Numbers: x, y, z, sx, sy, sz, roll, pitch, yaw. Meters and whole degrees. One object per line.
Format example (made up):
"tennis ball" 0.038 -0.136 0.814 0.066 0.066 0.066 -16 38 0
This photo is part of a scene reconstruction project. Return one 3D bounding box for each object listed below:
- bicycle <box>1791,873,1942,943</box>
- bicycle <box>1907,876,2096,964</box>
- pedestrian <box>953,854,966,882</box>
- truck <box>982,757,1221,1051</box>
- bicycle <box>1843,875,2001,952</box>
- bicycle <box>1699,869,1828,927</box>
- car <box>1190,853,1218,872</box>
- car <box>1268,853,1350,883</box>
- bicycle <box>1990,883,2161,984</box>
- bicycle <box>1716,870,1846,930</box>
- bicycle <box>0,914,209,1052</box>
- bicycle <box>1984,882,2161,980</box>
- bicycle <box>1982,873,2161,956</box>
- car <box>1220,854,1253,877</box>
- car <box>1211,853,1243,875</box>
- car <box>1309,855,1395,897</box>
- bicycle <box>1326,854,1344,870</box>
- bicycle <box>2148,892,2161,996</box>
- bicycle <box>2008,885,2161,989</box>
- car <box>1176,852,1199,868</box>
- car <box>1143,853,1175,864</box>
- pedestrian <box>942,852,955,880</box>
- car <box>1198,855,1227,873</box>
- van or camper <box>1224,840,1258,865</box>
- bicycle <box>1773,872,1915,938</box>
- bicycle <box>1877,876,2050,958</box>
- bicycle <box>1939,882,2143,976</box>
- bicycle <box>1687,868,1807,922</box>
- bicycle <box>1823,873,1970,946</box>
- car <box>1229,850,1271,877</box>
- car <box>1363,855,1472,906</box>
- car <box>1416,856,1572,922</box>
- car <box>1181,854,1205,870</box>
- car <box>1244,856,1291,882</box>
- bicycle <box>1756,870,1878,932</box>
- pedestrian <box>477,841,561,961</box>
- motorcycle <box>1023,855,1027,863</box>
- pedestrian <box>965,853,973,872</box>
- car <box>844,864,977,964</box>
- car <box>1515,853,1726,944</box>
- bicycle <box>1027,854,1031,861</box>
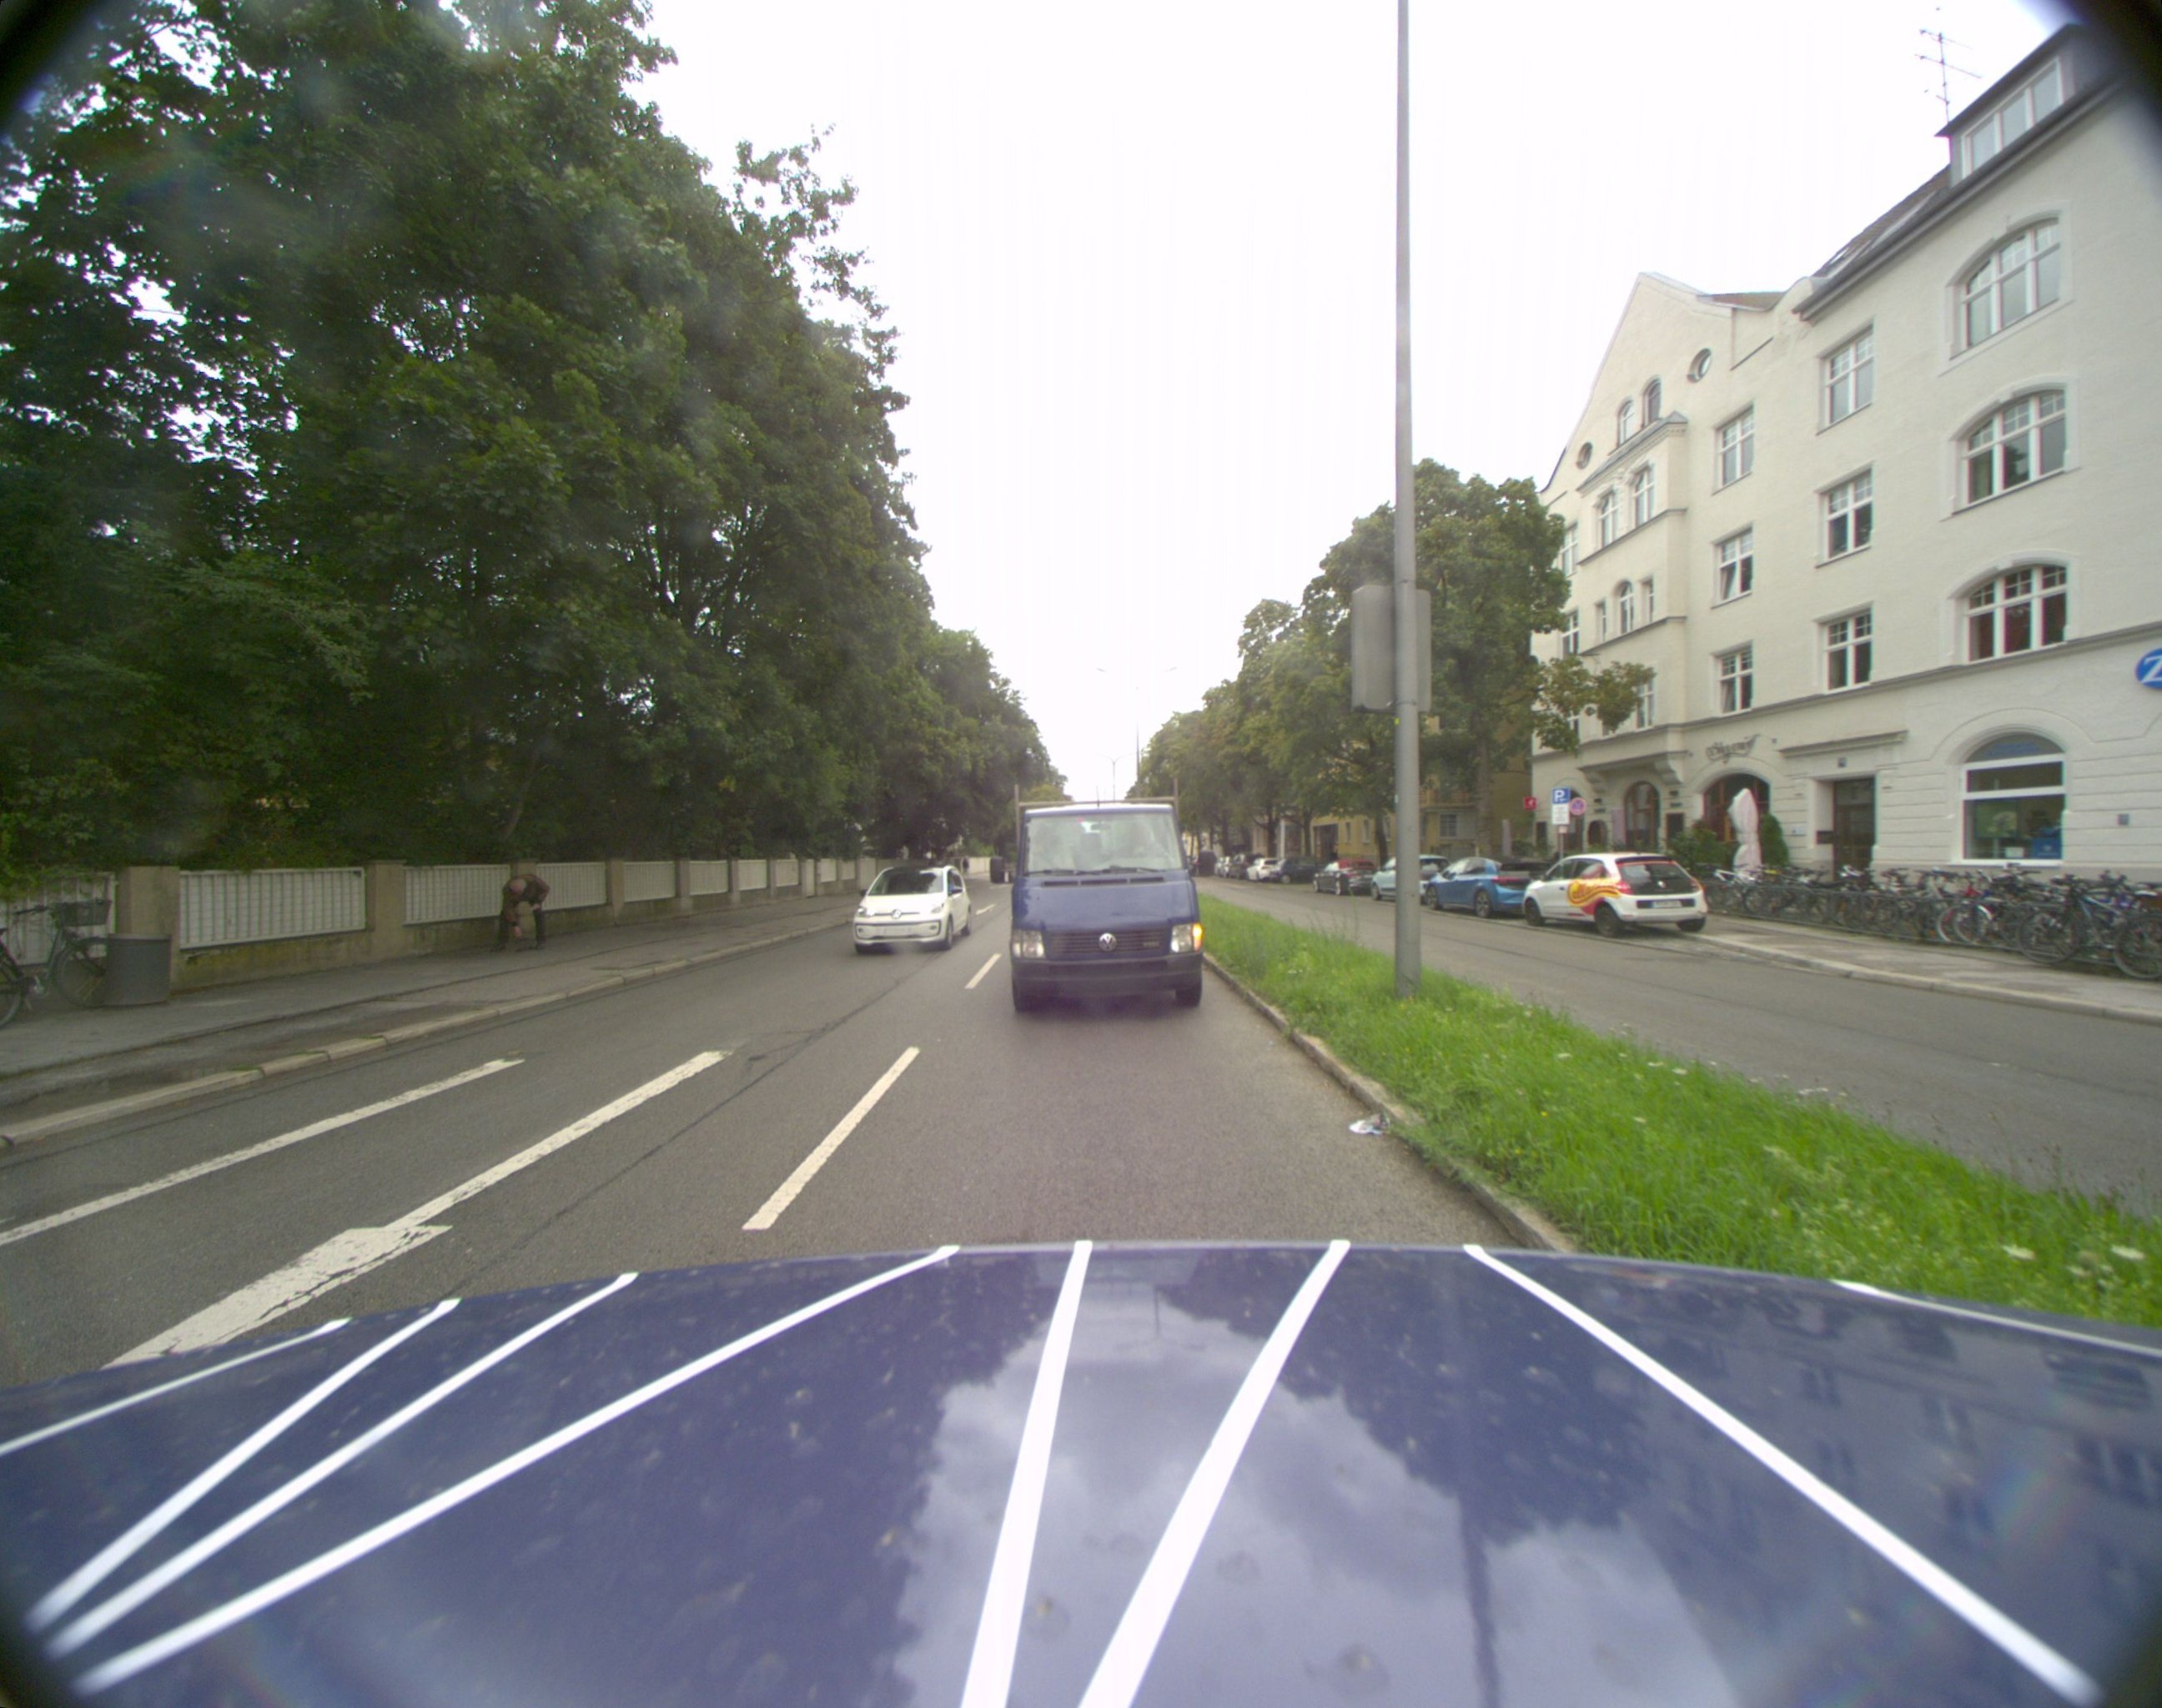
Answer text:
"bicycle" 13.824 0.915 13.449 0.331 1.109 1.871 -1 0 -23
"bicycle" 13.006 0.891 10.809 0.383 1.109 1.678 -1 0 -23
"pedestrian" -7.475 0.863 46.792 0.668 1.683 0.729 1 1 0
"truck" 0.214 0.421 9.042 1.998 2.475 5.151 -1 0 1
"bicycle" 13.437 0.914 12.206 0.331 1.109 1.678 -1 0 -23
"bicycle" 14.495 0.902 16.194 0.505 1.109 1.984 -1 0 -31
"car" 11.261 0.715 69.934 1.883 1.636 4.770 -1 0 1
"car" 12.394 0.721 41.383 3.899 1.455 1.732 -2 0 -1
"bicycle" 12.363 0.937 9.229 0.331 1.109 1.678 -1 0 -23
"bicycle" 14.266 0.909 15.538 0.550 1.109 1.877 -1 0 -31
"bicycle" -9.844 1.204 7.275 0.624 1.084 2.026 -1 0 0
"bicycle" 12.668 0.934 9.546 0.367 1.109 1.678 -1 0 -23
"bicycle" 14.773 0.859 11.343 0.331 1.109 1.678 -1 0 -23
"car" 11.212 0.798 54.939 1.731 1.549 3.009 -1 0 -1
"car" 11.295 0.755 59.074 1.731 1.552 4.057 -1 0 1
"car" 10.753 0.816 30.522 1.815 1.498 4.645 -1 0 1
"bicycle" 19.335 0.618 57.867 0.771 1.215 1.930 -1 0 0
"bicycle" 12.100 0.973 7.568 0.331 1.109 1.678 -1 0 -23
"bicycle" 12.108 0.946 8.815 0.368 1.109 1.678 -1 0 -23
"car" 11.336 0.627 80.884 1.878 1.677 4.438 -1 0 1
"car" 10.485 0.576 102.157 3.989 1.367 1.866 -2 -1 39
"pedestrian" -8.176 0.728 46.813 0.668 1.695 0.766 1 1 0
"car" 11.060 0.825 64.054 1.731 1.398 4.363 -1 0 1
"van or camper" 17.578 -0.192 83.849 2.351 2.564 6.851 -1 0 1
"bicycle" 14.011 0.898 14.027 0.331 1.109 1.871 -1 0 -23
"bicycle" 13.239 0.905 11.464 0.331 1.109 1.678 -1 0 -23
"bicycle" 12.845 0.962 10.241 0.331 1.109 1.678 -1 0 -23
"bicycle" 14.692 0.870 16.827 0.460 1.109 1.961 -1 0 -31
"bicycle" 13.649 0.890 12.784 0.331 1.109 1.678 -1 0 -23
"car" 11.177 0.597 50.541 1.815 1.718 4.767 -1 0 1
"car" 10.811 0.793 24.733 1.815 1.498 3.960 -1 0 1
"car" 10.655 0.837 19.999 1.815 1.498 4.291 -1 0 1
"car" 11.107 0.791 75.700 1.696 1.446 4.492 -1 0 1
"car" 10.962 0.850 44.898 1.731 1.394 4.404 -1 0 1
"bicycle" 14.215 0.881 14.730 0.331 1.109 1.677 -1 0 -27
"pedestrian" -9.355 0.759 12.677 0.779 1.931 0.802 0 1 1
"motorcycle" -8.911 0.788 121.508 0.497 1.135 1.631 -1 0 -10
"pedestrian" -9.384 0.740 63.642 0.529 1.572 0.729 1 1 0
"car" -3.031 0.998 14.194 1.647 1.553 3.586 -1 0 0
"car" 10.554 0.783 15.240 1.653 1.576 3.790 -1 0 2
"bicycle" -8.829 0.606 129.049 0.490 1.092 1.631 -1 0 -10
